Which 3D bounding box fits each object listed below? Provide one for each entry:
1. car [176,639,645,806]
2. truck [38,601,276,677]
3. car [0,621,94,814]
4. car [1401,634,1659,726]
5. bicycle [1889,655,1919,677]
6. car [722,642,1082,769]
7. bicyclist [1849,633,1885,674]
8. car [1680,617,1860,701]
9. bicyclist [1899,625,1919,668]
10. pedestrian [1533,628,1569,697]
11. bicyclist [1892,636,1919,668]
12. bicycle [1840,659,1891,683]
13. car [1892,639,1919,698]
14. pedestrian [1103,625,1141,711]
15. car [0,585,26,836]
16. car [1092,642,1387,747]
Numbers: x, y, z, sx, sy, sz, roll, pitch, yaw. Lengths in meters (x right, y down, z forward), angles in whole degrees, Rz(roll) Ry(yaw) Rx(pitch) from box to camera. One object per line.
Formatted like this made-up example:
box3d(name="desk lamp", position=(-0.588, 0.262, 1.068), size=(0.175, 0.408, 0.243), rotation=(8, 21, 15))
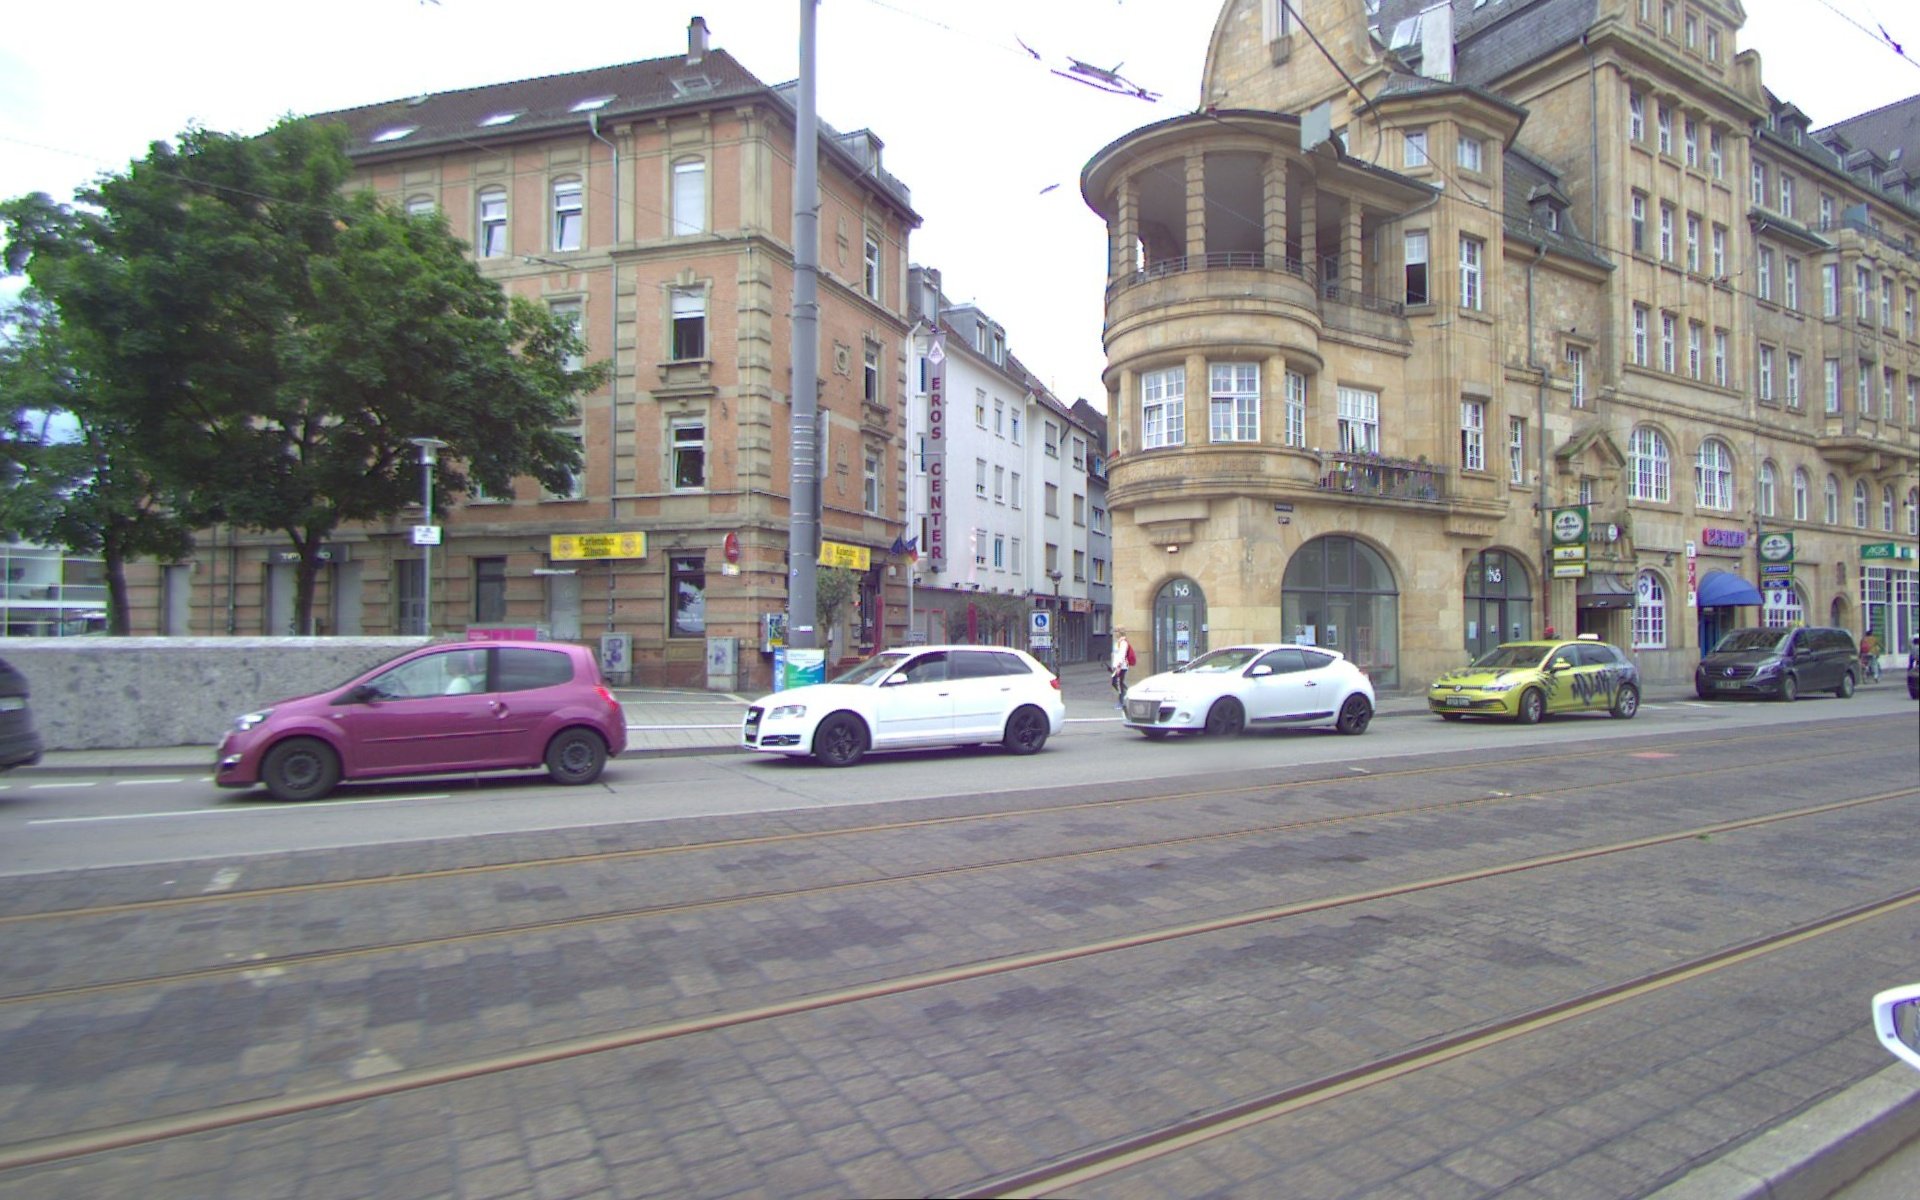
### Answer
box3d(name="car", position=(-5.353, 1.137, 10.277), size=(3.844, 1.417, 1.857), rotation=(1, -4, -26))
box3d(name="truck", position=(-41.279, 2.041, 52.127), size=(2.753, 3.595, 9.208), rotation=(0, -3, 30))
box3d(name="car", position=(-10.046, 0.973, 8.081), size=(4.244, 1.554, 1.858), rotation=(1, -4, -25))
box3d(name="car", position=(10.524, 1.413, 18.560), size=(4.365, 1.530, 1.895), rotation=(1, -3, -24))
box3d(name="bicycle", position=(33.926, 2.337, 35.785), size=(2.224, 0.755, 0.579), rotation=(1, -2, -30))
box3d(name="car", position=(-0.703, 1.278, 12.925), size=(4.309, 1.397, 1.740), rotation=(1, -5, -29))
box3d(name="bicyclist", position=(30.018, 1.753, 33.245), size=(0.960, 1.341, 0.608), rotation=(1, -2, -30))
box3d(name="car", position=(20.953, 1.513, 25.937), size=(5.038, 2.002, 1.891), rotation=(1, -4, -31))
box3d(name="bicyclist", position=(34.283, 1.669, 36.021), size=(0.960, 1.507, 0.608), rotation=(1, -2, -30))
box3d(name="pedestrian", position=(15.313, 1.601, 26.027), size=(0.757, 1.750, 0.492), rotation=(1, -2, -33))
box3d(name="bicyclist", position=(33.584, 1.834, 35.602), size=(0.651, 1.132, 0.608), rotation=(1, -2, -30))
box3d(name="bicycle", position=(29.925, 2.341, 33.183), size=(2.224, 0.755, 0.579), rotation=(1, -2, -30))
box3d(name="car", position=(25.559, 1.683, 25.294), size=(4.613, 1.452, 1.819), rotation=(1, -5, -31))
box3d(name="pedestrian", position=(3.351, 1.383, 20.768), size=(0.525, 1.742, 0.629), rotation=(-1, -2, 40))
box3d(name="car", position=(-8.481, 0.693, 5.281), size=(4.849, 1.728, 1.856), rotation=(1, -3, -29))
box3d(name="car", position=(4.314, 1.360, 15.467), size=(4.203, 1.398, 1.920), rotation=(1, -2, -27))
